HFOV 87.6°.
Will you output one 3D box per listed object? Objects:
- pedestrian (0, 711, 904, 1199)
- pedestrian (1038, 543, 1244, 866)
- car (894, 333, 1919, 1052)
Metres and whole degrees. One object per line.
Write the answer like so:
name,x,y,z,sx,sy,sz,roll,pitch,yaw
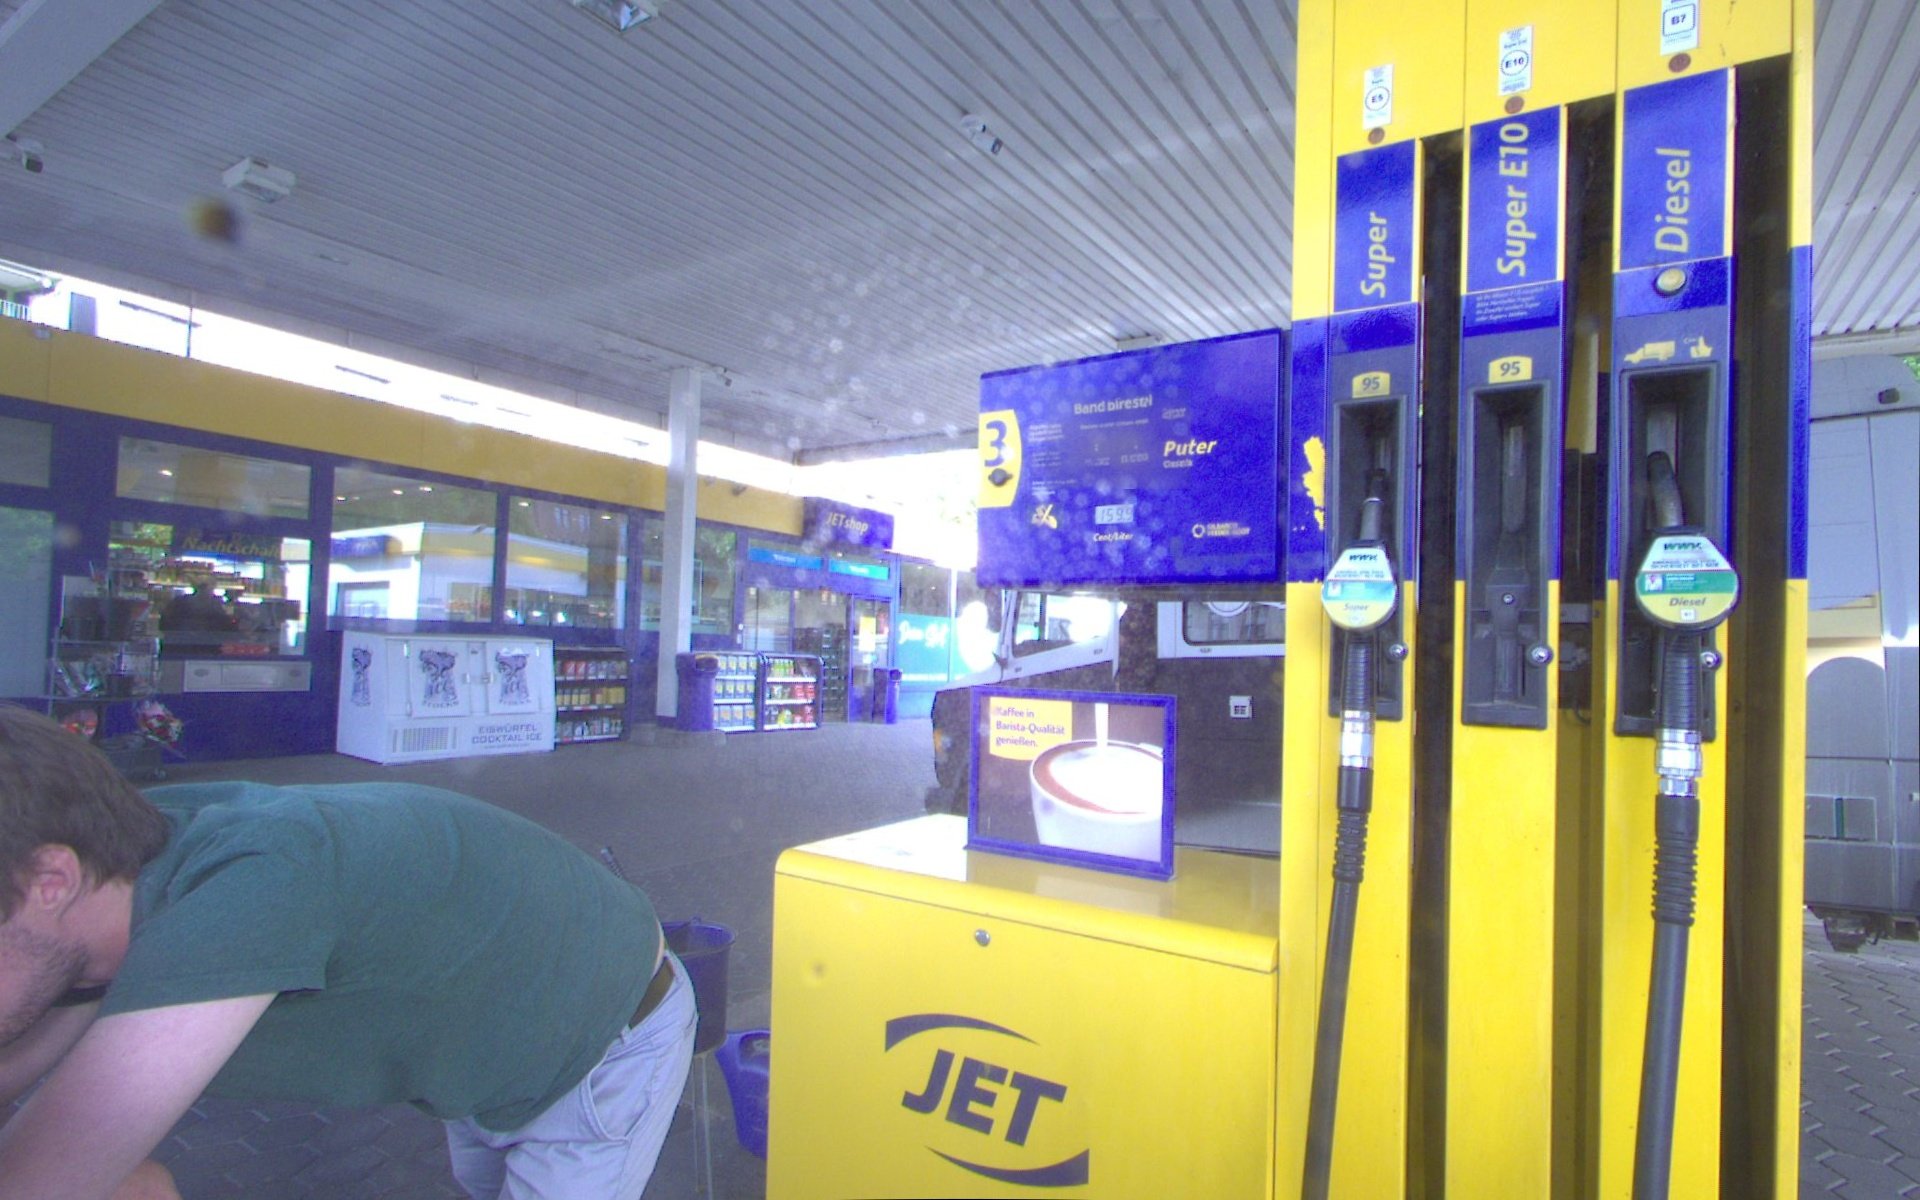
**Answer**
pedestrian,-0.542,0.806,1.071,0.664,1.298,0.749,-1,-1,31
pedestrian,1.137,0.602,6.213,0.966,1.785,0.975,-1,-2,32
car,2.382,0.410,6.016,5.219,2.724,2.250,0,-3,34
